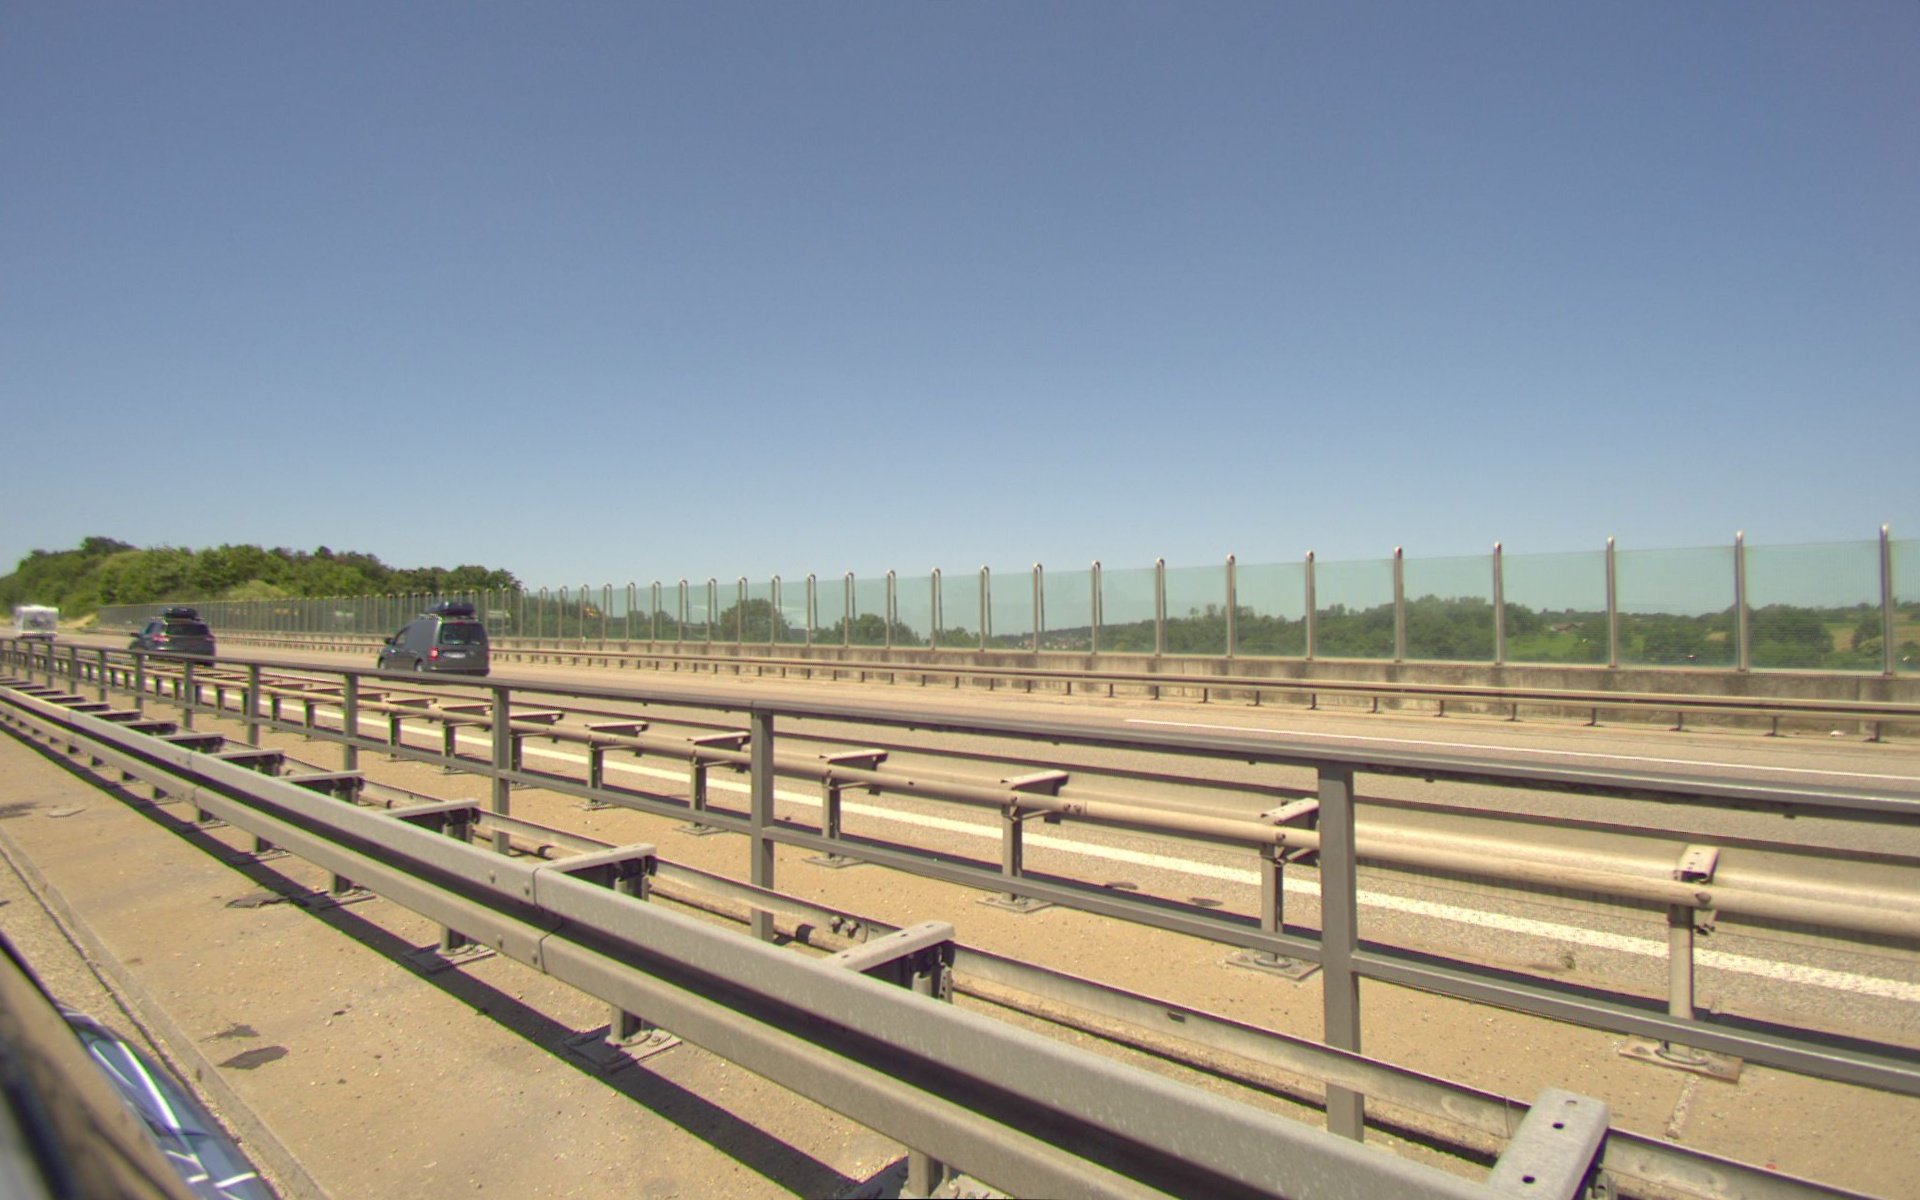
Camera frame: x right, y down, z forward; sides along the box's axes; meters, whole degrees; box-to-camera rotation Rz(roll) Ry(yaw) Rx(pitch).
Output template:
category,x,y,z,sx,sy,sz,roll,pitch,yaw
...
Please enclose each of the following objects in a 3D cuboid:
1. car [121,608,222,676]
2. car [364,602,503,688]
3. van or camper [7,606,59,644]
category,x,y,z,sx,sy,sz,roll,pitch,yaw
car,-26.347,1.405,33.791,4.266,2.147,1.843,-2,-4,42
car,-14.928,1.276,28.600,4.265,2.233,1.973,-2,-4,41
van or camper,-78.846,2.142,86.041,7.023,3.047,2.397,-2,-4,41
